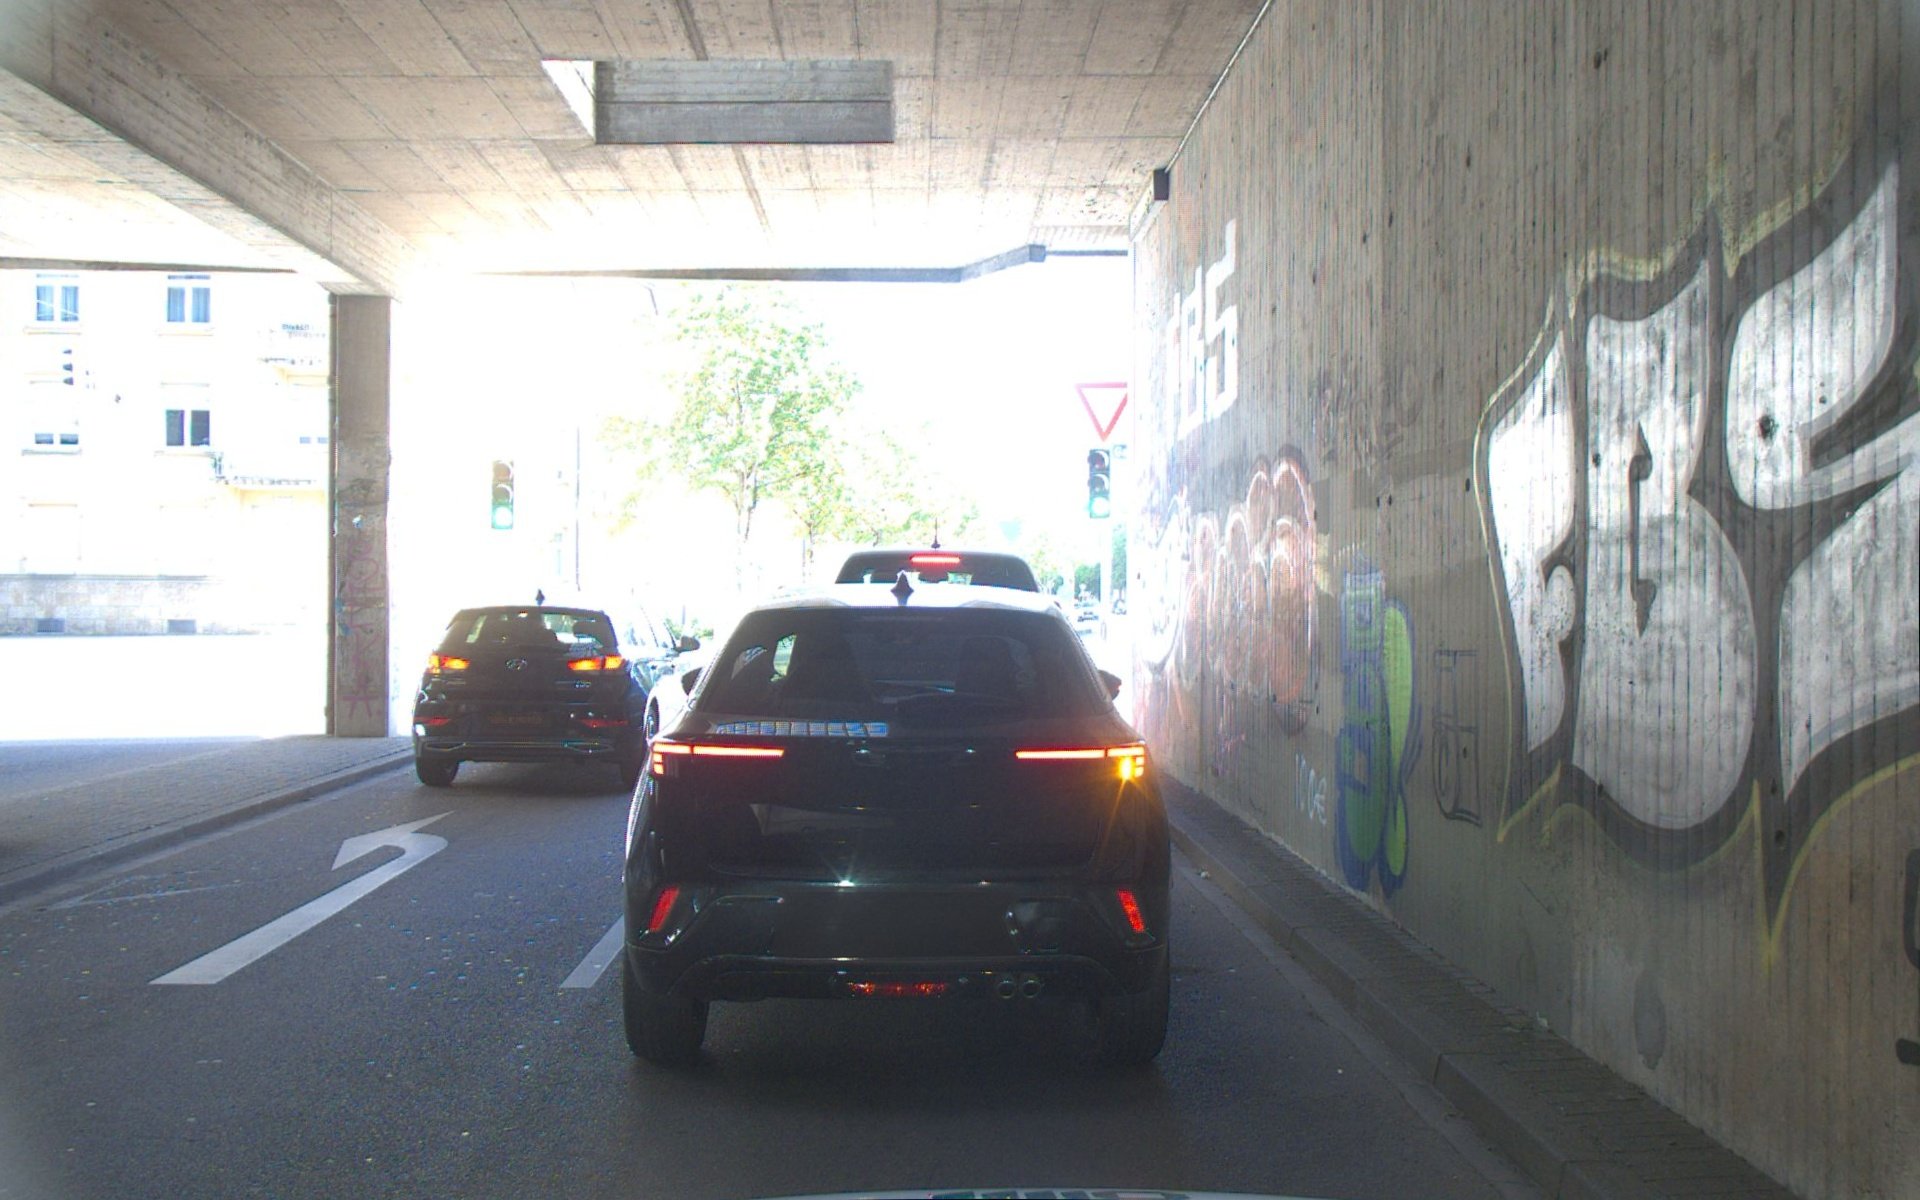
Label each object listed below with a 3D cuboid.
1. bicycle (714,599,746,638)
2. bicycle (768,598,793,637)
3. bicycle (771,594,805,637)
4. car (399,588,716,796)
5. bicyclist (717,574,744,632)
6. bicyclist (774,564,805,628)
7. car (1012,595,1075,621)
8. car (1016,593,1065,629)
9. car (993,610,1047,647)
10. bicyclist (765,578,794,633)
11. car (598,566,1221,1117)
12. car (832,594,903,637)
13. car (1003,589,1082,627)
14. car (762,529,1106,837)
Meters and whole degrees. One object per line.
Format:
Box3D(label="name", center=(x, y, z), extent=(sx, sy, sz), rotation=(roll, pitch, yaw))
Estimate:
Box3D(label="bicycle", center=(-6.603, 0.517, 47.597), extent=(0.514, 1.109, 1.861), rotation=(0, 0, 4))
Box3D(label="bicycle", center=(-5.530, 0.524, 51.084), extent=(0.530, 1.142, 2.059), rotation=(0, 0, 1))
Box3D(label="bicycle", center=(-4.767, 0.417, 45.967), extent=(0.683, 1.109, 1.861), rotation=(0, 2, 2))
Box3D(label="car", center=(-3.188, 0.644, 13.971), extent=(1.765, 1.476, 4.324), rotation=(0, 0, -2))
Box3D(label="bicyclist", center=(-6.611, 0.084, 47.683), extent=(0.593, 1.661, 0.910), rotation=(0, 0, 4))
Box3D(label="bicyclist", center=(-4.735, -0.128, 46.057), extent=(0.730, 1.741, 0.967), rotation=(0, 2, 2))
Box3D(label="car", center=(6.762, 0.642, 134.153), extent=(4.822, 2.119, 1.969), rotation=(0, -1, -26))
Box3D(label="car", center=(3.693, 0.466, 75.293), extent=(1.668, 1.539, 3.866), rotation=(-2, 0, 11))
Box3D(label="car", center=(2.510, 1.159, 68.419), extent=(1.671, 1.477, 3.854), rotation=(0, 0, 11))
Box3D(label="bicyclist", center=(-5.576, 0.161, 51.175), extent=(0.766, 1.689, 1.031), rotation=(0, 0, 1))
Box3D(label="car", center=(-0.166, 0.677, 6.556), extent=(1.745, 1.544, 3.755), rotation=(1, 0, -1))
Box3D(label="car", center=(-3.277, 0.535, 58.909), extent=(1.622, 1.466, 3.466), rotation=(0, 0, 13))
Box3D(label="car", center=(5.792, 0.530, 116.201), extent=(5.175, 2.590, 1.977), rotation=(0, -1, -16))
Box3D(label="car", center=(-0.182, 0.493, 12.541), extent=(2.089, 1.867, 4.940), rotation=(0, 0, -1))
